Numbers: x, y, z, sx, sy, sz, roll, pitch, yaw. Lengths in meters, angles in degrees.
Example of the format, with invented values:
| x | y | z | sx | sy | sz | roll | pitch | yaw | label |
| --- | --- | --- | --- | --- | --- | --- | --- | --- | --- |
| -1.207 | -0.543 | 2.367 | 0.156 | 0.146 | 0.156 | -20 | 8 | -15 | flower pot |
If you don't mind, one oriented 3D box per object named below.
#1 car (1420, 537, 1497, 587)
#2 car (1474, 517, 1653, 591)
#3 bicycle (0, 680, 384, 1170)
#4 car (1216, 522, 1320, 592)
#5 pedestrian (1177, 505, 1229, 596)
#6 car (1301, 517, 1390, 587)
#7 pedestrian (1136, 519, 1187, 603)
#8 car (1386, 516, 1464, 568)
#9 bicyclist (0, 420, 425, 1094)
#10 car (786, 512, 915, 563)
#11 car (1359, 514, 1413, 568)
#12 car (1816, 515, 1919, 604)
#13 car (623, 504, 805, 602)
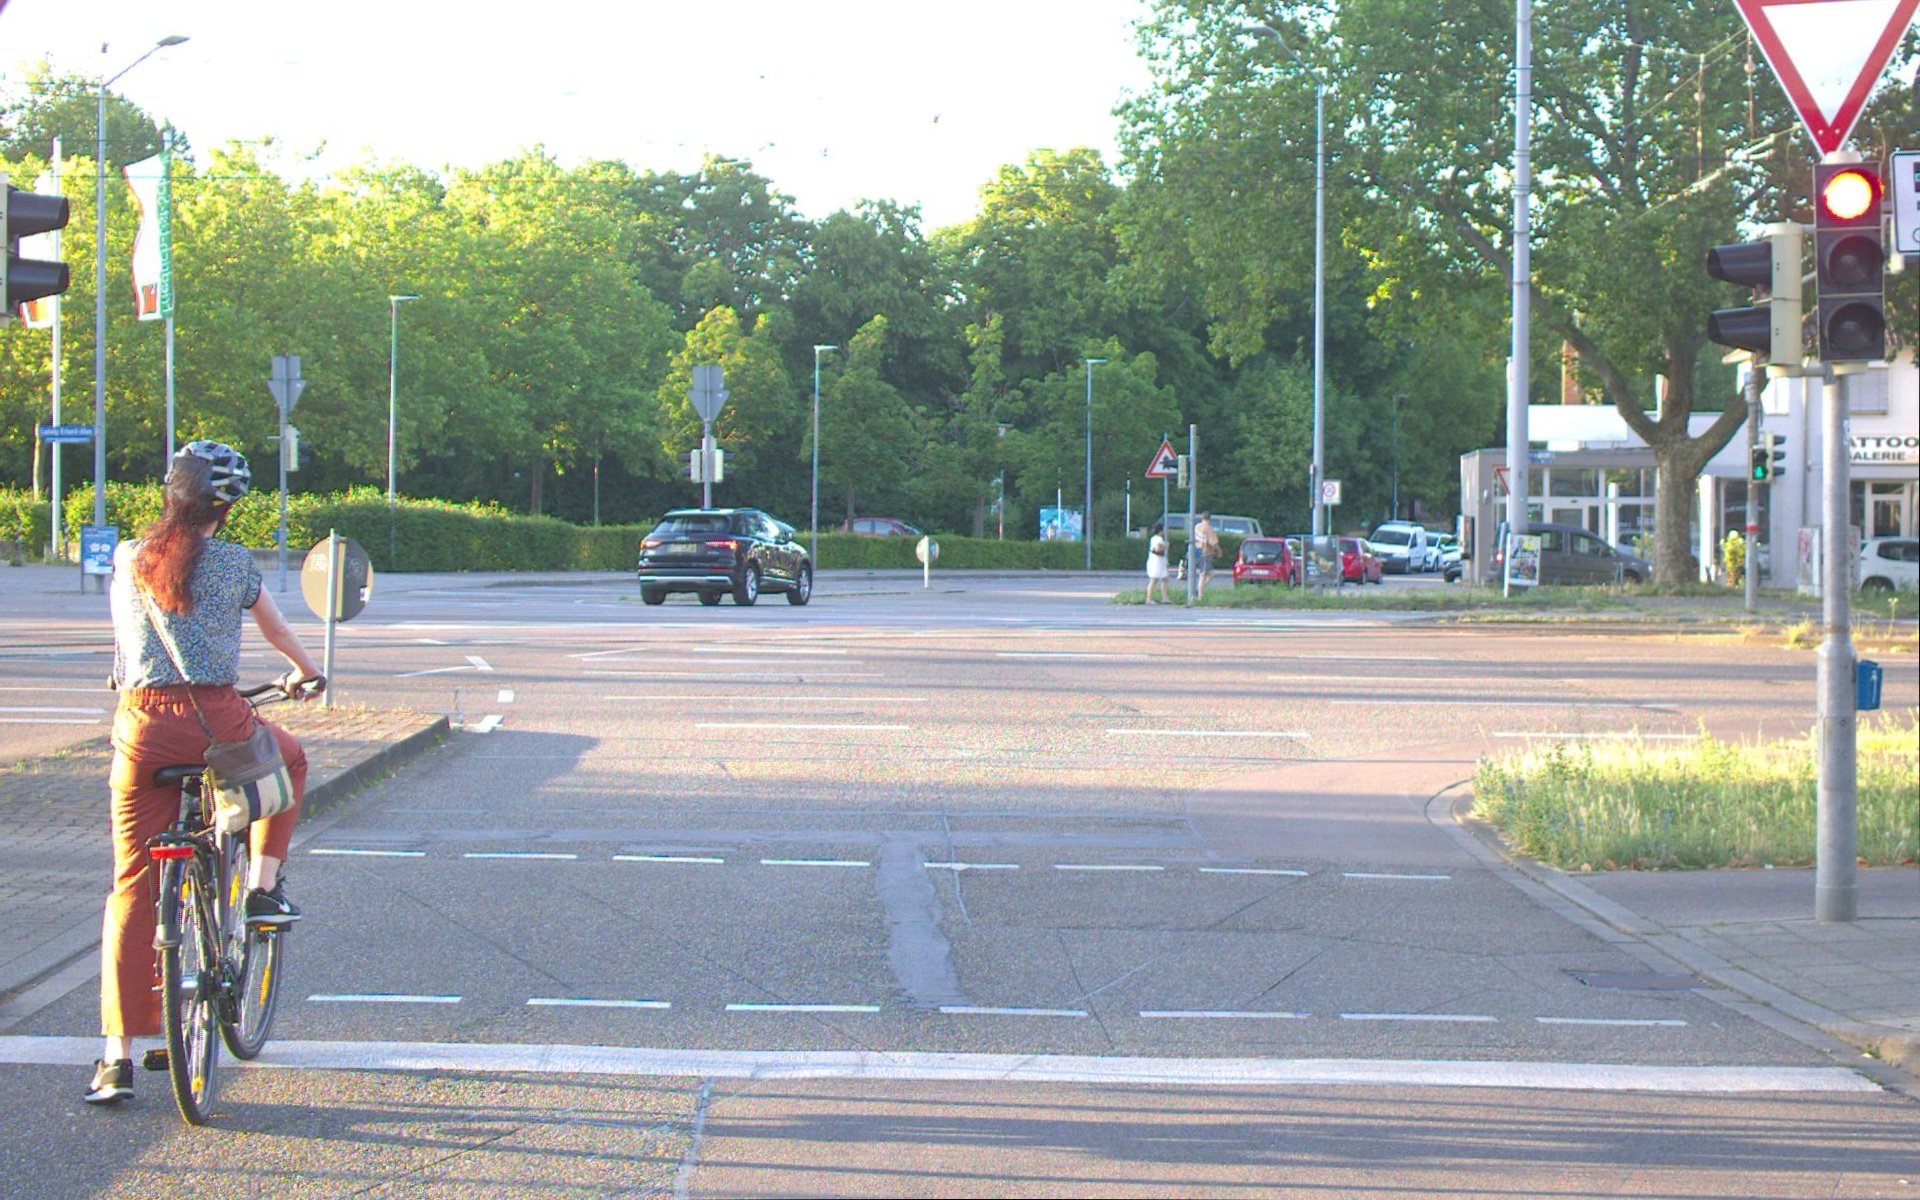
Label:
| x | y | z | sx | sy | sz | roll | pitch | yaw | label |
| --- | --- | --- | --- | --- | --- | --- | --- | --- | --- |
| 16.749 | -1.282 | 115.415 | 1.916 | 1.597 | 3.997 | 1 | 2 | 17 | car |
| 15.589 | -1.205 | 88.969 | 4.378 | 1.828 | 1.949 | 1 | 1 | 5 | car |
| -2.040 | 0.801 | 9.265 | 0.634 | 1.064 | 2.122 | 1 | 1 | -1 | bicycle |
| 8.600 | -1.220 | 95.706 | 1.870 | 1.868 | 3.870 | 1 | 2 | 21 | car |
| 4.734 | -0.975 | 66.891 | 0.719 | 1.748 | 0.896 | 1 | 1 | 24 | pedestrian |
| 11.614 | -1.465 | 103.319 | 1.916 | 2.040 | 3.997 | 1 | 2 | 17 | car |
| 3.988 | -0.774 | 68.105 | 0.719 | 1.633 | 0.896 | 1 | 1 | 24 | pedestrian |
| 18.389 | -2.291 | 135.803 | 1.996 | 2.007 | 3.995 | 1 | 2 | 24 | car |
| -2.039 | 0.390 | 9.272 | 1.031 | 1.712 | 0.996 | 1 | 1 | -1 | bicyclist |
| -3.482 | -1.995 | 109.516 | 3.987 | 1.555 | 2.000 | 1 | 1 | 1 | car |
| 16.242 | -2.274 | 131.178 | 1.994 | 2.007 | 3.999 | 1 | 1 | 7 | car |
| 20.404 | -0.848 | 72.481 | 4.230 | 1.840 | 2.000 | 1 | 1 | 2 | car |
| -3.988 | -0.753 | 56.484 | 1.756 | 1.535 | 4.398 | 1 | 0 | 13 | car |
